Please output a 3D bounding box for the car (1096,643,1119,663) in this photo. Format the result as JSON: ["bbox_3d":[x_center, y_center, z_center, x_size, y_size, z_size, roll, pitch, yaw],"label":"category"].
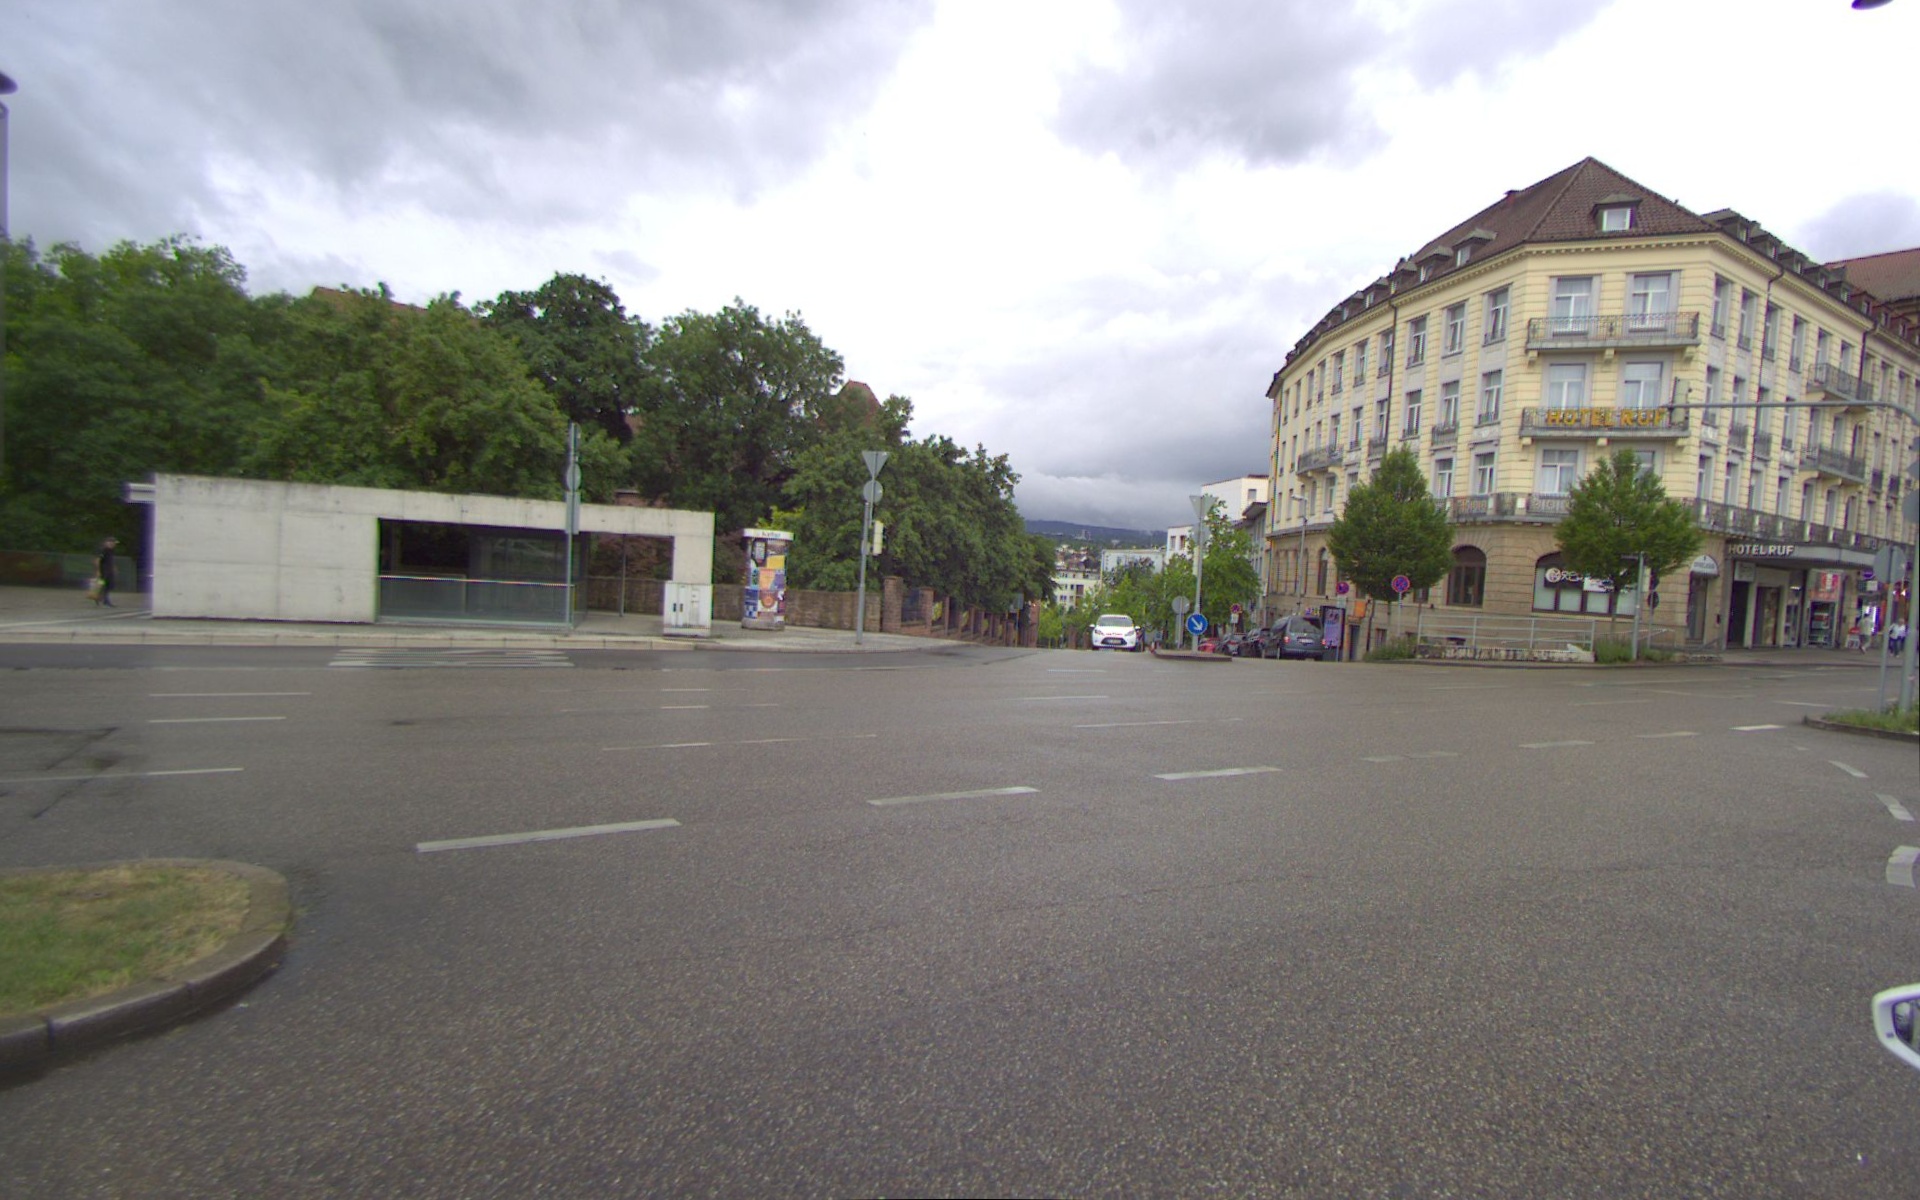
[{"bbox_3d":[14.033,5.029,95.752,1.960,1.706,4.002,2,-1,6],"label":"car"}]

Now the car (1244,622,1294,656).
[{"bbox_3d":[14.601,1.811,47.621,1.602,1.417,4.002,2,0,7],"label":"car"}]

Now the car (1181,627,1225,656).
[{"bbox_3d":[14.283,2.407,59.199,1.735,1.498,4.011,2,-1,3],"label":"car"}]

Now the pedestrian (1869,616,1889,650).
[{"bbox_3d":[47.407,1.707,51.806,0.532,1.686,0.661,2,0,-41],"label":"pedestrian"}]

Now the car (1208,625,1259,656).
[{"bbox_3d":[14.397,2.101,52.990,1.735,1.498,4.001,2,-1,3],"label":"car"}]

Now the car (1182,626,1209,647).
[{"bbox_3d":[18.565,2.877,79.378,1.734,1.498,4.003,2,-1,9],"label":"car"}]

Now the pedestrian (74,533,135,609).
[{"bbox_3d":[-20.838,-0.692,24.490,0.811,1.779,0.784,2,0,-13],"label":"pedestrian"}]

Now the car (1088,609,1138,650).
[{"bbox_3d":[5.888,1.111,39.009,1.602,1.416,4.002,2,-1,5],"label":"car"}]

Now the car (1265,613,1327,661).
[{"bbox_3d":[13.723,1.471,41.213,1.602,1.782,4.002,2,0,7],"label":"car"}]

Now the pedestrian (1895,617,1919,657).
[{"bbox_3d":[41.349,1.602,43.775,0.798,1.686,0.677,2,0,-33],"label":"pedestrian"}]

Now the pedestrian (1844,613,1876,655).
[{"bbox_3d":[40.446,1.509,45.156,0.742,1.837,0.874,2,0,-33],"label":"pedestrian"}]

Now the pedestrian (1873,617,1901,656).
[{"bbox_3d":[40.938,1.620,44.371,0.797,1.686,0.678,2,0,-30],"label":"pedestrian"}]
